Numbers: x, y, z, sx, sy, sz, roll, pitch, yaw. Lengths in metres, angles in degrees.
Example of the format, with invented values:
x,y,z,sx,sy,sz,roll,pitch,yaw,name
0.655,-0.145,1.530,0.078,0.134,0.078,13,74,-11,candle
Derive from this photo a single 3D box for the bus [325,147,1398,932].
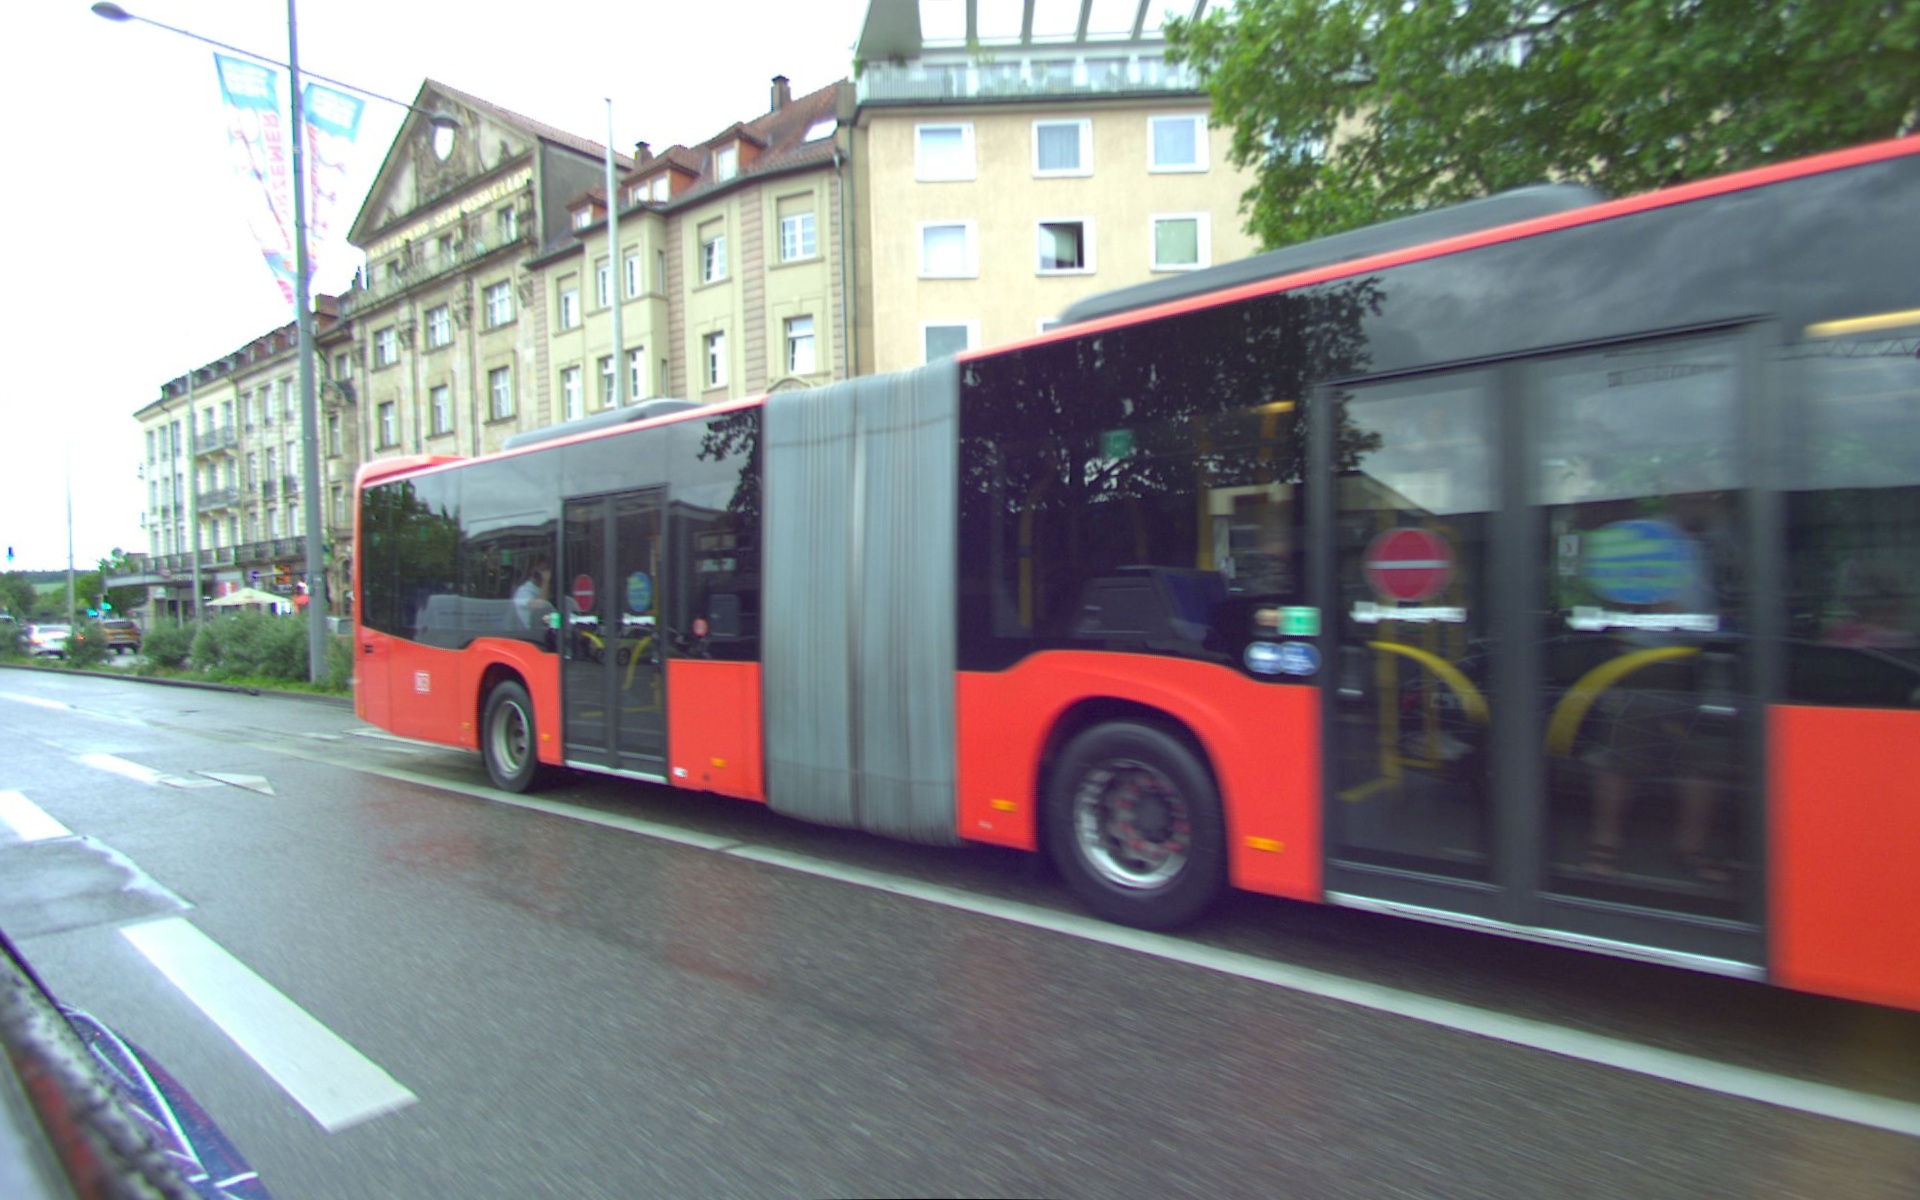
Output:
x,y,z,sx,sy,sz,roll,pitch,yaw,name
-1.949,-0.170,8.473,9.904,3.270,2.781,-1,-1,40,bus

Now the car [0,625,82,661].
x,y,z,sx,sy,sz,roll,pitch,yaw,name
-38.829,1.776,42.686,4.976,1.417,1.774,-1,-1,37,car

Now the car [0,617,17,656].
x,y,z,sx,sy,sz,roll,pitch,yaw,name
-50.199,1.882,51.843,4.846,1.989,1.904,-1,-1,36,car

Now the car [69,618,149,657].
x,y,z,sx,sy,sz,roll,pitch,yaw,name
-39.996,1.741,47.550,4.094,1.693,1.975,-1,-1,36,car

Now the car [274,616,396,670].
x,y,z,sx,sy,sz,roll,pitch,yaw,name
-20.061,1.346,32.413,4.732,1.591,1.774,-1,-1,37,car

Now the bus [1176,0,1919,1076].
x,y,z,sx,sy,sz,roll,pitch,yaw,name
5.152,-0.320,2.400,8.837,3.156,2.724,-2,-1,41,bus

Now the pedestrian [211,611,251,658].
x,y,z,sx,sy,sz,roll,pitch,yaw,name
-32.693,1.537,45.398,0.764,1.921,0.672,-7,-26,35,pedestrian
